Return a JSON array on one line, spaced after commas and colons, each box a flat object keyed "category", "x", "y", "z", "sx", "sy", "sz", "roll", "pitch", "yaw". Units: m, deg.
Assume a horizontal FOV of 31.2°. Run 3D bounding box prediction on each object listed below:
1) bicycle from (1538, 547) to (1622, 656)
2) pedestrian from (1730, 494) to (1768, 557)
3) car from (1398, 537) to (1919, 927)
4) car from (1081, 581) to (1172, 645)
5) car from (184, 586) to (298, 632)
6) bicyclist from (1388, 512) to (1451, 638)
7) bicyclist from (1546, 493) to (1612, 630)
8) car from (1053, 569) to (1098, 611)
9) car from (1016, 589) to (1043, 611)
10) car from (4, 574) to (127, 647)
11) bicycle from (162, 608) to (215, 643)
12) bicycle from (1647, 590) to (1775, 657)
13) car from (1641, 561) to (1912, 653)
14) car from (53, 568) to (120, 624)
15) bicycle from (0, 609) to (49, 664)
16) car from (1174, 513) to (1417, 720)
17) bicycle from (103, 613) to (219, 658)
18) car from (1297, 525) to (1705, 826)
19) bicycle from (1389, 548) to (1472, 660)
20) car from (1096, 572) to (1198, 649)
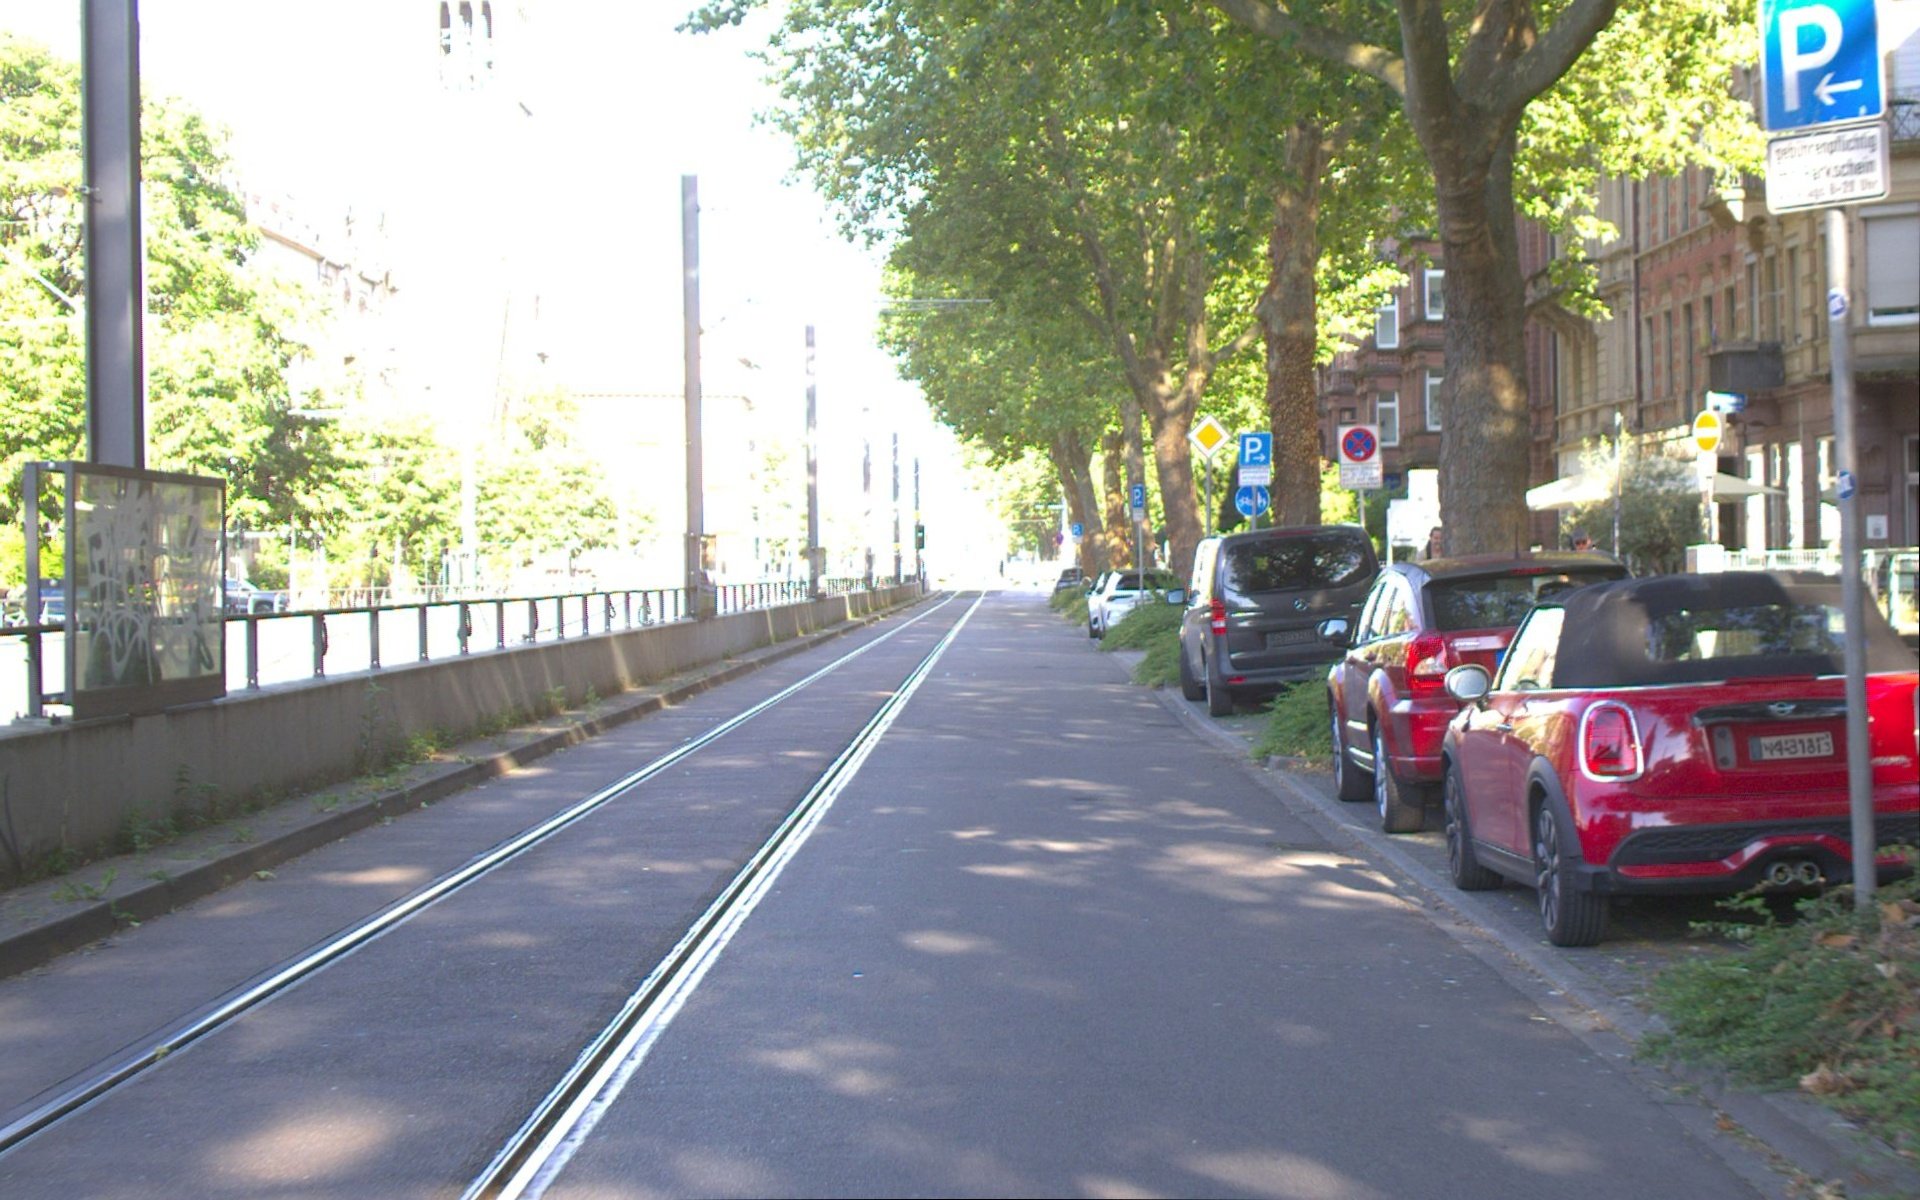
[{"category": "bicycle", "x": 6.833, "y": 0.020, "z": 37.964, "sx": 0.560, "sy": 1.174, "sz": 2.021, "roll": 0, "pitch": 0, "yaw": 0}, {"category": "pedestrian", "x": 14.548, "y": -1.368, "z": 63.396, "sx": 0.556, "sy": 1.134, "sz": 0.526, "roll": -1, "pitch": 0, "yaw": 0}, {"category": "car", "x": 3.025, "y": 0.508, "z": 14.855, "sx": 1.714, "sy": 1.457, "sz": 4.000, "roll": 0, "pitch": 0, "yaw": -1}, {"category": "car", "x": 3.582, "y": 0.269, "z": 74.484, "sx": 1.830, "sy": 1.322, "sz": 4.000, "roll": -1, "pitch": 0, "yaw": 1}, {"category": "car", "x": -26.292, "y": 0.319, "z": 125.830, "sx": 3.986, "sy": 1.619, "sz": 1.826, "roll": 0, "pitch": 1, "yaw": -8}, {"category": "bicyclist", "x": 5.096, "y": -0.274, "z": 38.168, "sx": 0.569, "sy": 1.376, "sz": 0.644, "roll": -2, "pitch": -1, "yaw": 0}, {"category": "bicyclist", "x": 6.818, "y": -0.421, "z": 37.886, "sx": 0.569, "sy": 1.482, "sz": 0.644, "roll": -1, "pitch": 0, "yaw": 0}, {"category": "car", "x": 4.642, "y": -0.408, "z": 138.975, "sx": 1.616, "sy": 1.582, "sz": 4.417, "roll": -2, "pitch": 0, "yaw": 0}, {"category": "car", "x": 4.765, "y": -0.002, "z": 236.778, "sx": 1.745, "sy": 1.457, "sz": 3.644, "roll": 1, "pitch": 1, "yaw": 0}, {"category": "car", "x": -20.568, "y": 0.227, "z": 79.178, "sx": 1.832, "sy": 1.579, "sz": 4.000, "roll": 1, "pitch": 1, "yaw": -1}, {"category": "bicycle", "x": -20.675, "y": 0.687, "z": 92.128, "sx": 1.264, "sy": 0.902, "sz": 0.539, "roll": 1, "pitch": 1, "yaw": -29}, {"category": "bicycle", "x": 10.837, "y": 0.335, "z": 49.635, "sx": 1.690, "sy": 0.913, "sz": 0.603, "roll": -1, "pitch": 0, "yaw": -10}, {"category": "car", "x": 13.394, "y": 0.107, "z": 56.502, "sx": 3.986, "sy": 1.360, "sz": 1.743, "roll": -1, "pitch": 2, "yaw": -2}, {"category": "car", "x": -30.588, "y": -0.147, "z": 120.479, "sx": 1.993, "sy": 1.843, "sz": 4.482, "roll": 1, "pitch": 1, "yaw": -11}, {"category": "bicycle", "x": -21.070, "y": 0.791, "z": 75.761, "sx": 1.808, "sy": 1.174, "sz": 0.562, "roll": 2, "pitch": 0, "yaw": 4}, {"category": "car", "x": 3.511, "y": 0.123, "z": 36.930, "sx": 1.993, "sy": 2.007, "sz": 5.202, "roll": -2, "pitch": 1, "yaw": -1}, {"category": "bicycle", "x": -20.217, "y": 0.910, "z": 87.033, "sx": 2.777, "sy": 1.095, "sz": 0.643, "roll": 1, "pitch": 1, "yaw": -31}, {"category": "car", "x": 3.123, "y": 0.413, "z": 20.697, "sx": 1.714, "sy": 1.543, "sz": 4.501, "roll": -2, "pitch": 0, "yaw": 0}, {"category": "bicycle", "x": 5.198, "y": 0.044, "z": 38.100, "sx": 0.560, "sy": 1.174, "sz": 2.226, "roll": 3, "pitch": 0, "yaw": 0}, {"category": "car", "x": 3.734, "y": 0.188, "z": 69.258, "sx": 1.802, "sy": 1.472, "sz": 4.646, "roll": -1, "pitch": 0, "yaw": 0}]
